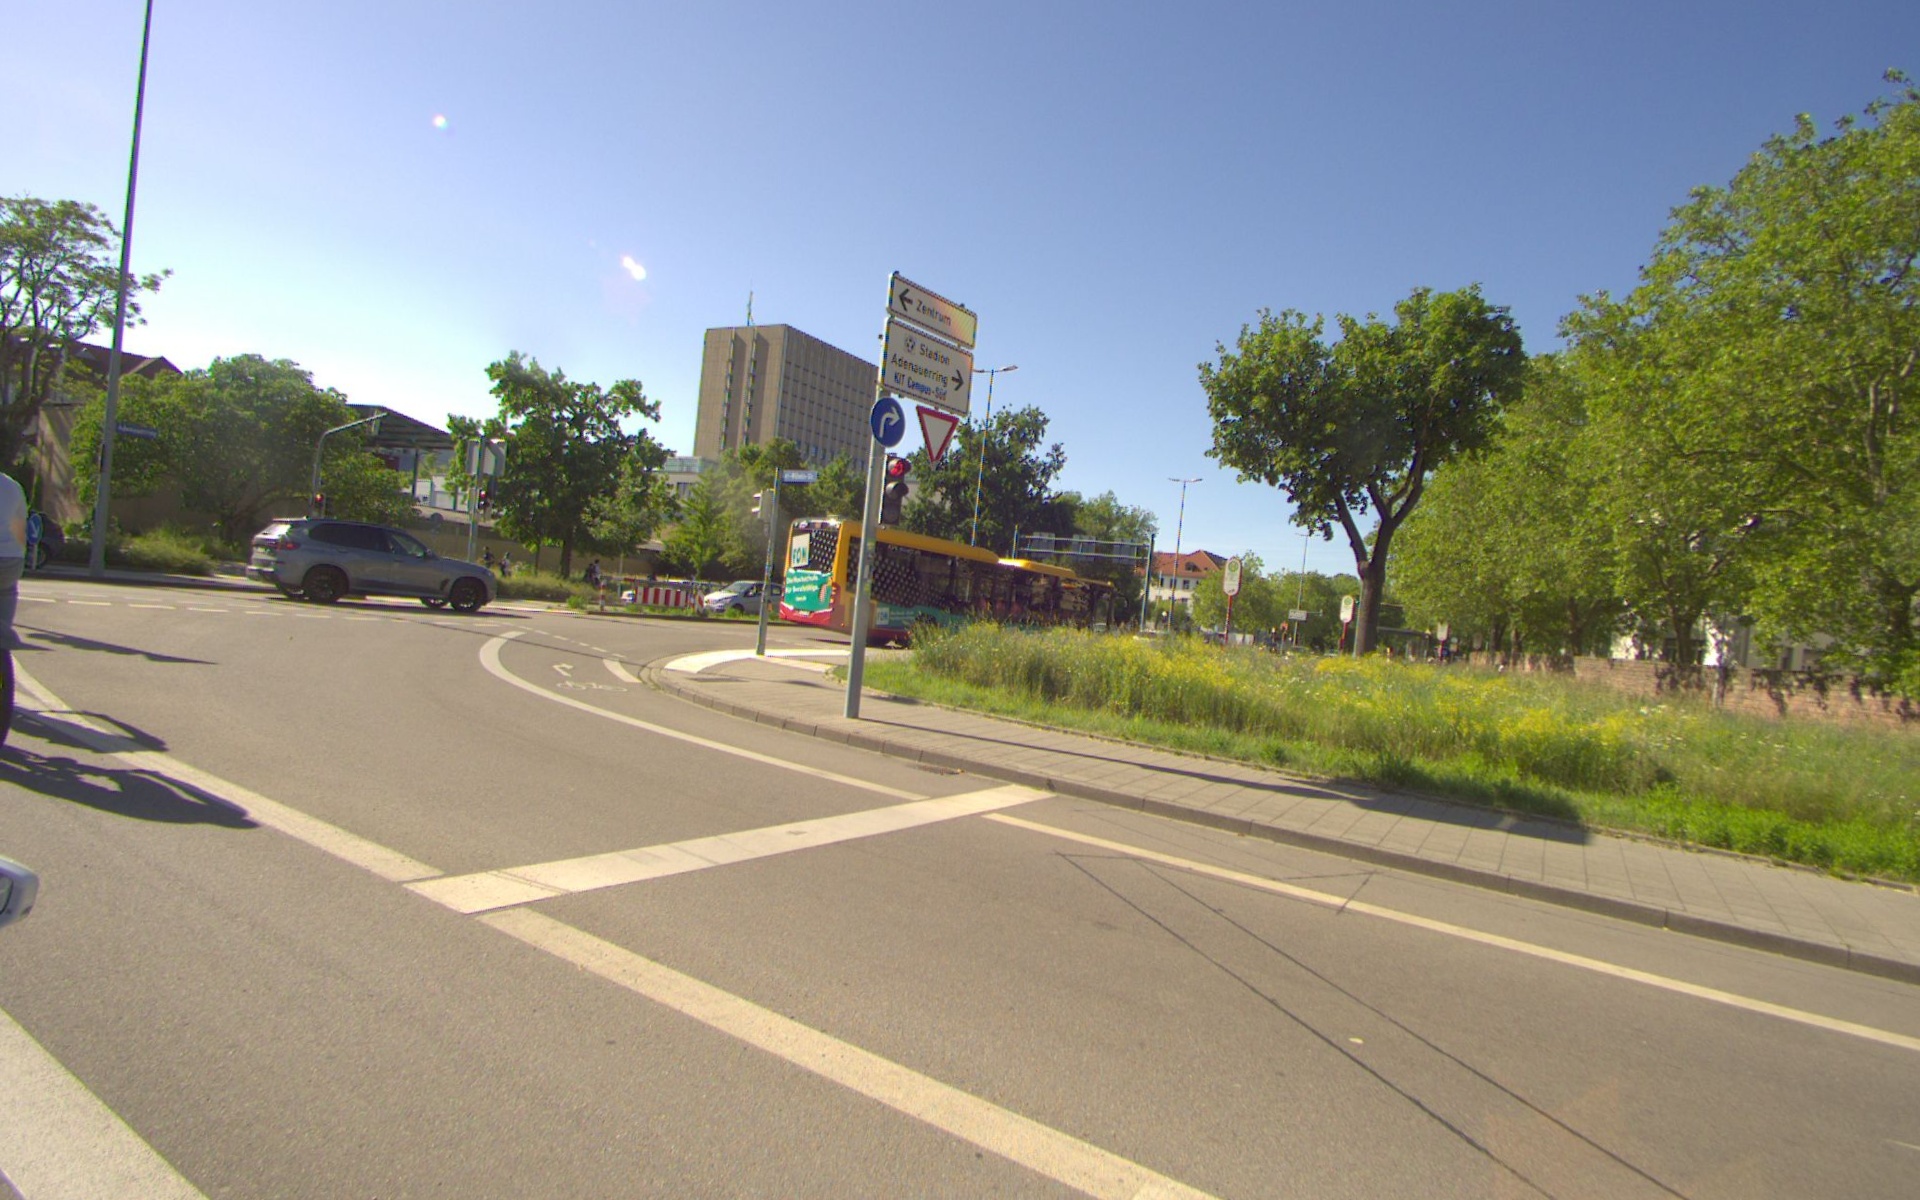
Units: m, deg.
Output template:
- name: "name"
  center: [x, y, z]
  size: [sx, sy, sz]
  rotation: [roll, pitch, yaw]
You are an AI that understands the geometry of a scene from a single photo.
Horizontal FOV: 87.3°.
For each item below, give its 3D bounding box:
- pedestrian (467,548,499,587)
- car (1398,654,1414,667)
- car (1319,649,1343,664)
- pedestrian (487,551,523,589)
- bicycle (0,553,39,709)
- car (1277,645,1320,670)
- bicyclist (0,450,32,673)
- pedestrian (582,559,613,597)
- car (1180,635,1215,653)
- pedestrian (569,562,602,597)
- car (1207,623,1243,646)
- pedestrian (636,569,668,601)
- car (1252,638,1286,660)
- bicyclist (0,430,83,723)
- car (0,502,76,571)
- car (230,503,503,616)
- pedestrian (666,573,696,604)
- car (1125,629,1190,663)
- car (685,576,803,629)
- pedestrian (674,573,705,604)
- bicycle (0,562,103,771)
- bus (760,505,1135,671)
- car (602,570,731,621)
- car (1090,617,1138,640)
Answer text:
- name: "pedestrian"
  center: [-21.954, -1.488, 46.299]
  size: [0.979, 1.625, 0.816]
  rotation: [6, 1, -45]
- name: "car"
  center: [60.953, 8.312, 137.471]
  size: [1.712, 1.535, 3.996]
  rotation: [7, 0, 26]
- name: "car"
  center: [47.709, 7.287, 129.321]
  size: [1.892, 1.625, 4.072]
  rotation: [7, 0, 35]
- name: "pedestrian"
  center: [-20.735, -1.372, 45.846]
  size: [0.917, 1.540, 1.083]
  rotation: [7, 1, 41]
- name: "bicycle"
  center: [-7.575, 0.130, 7.343]
  size: [1.813, 1.063, 0.672]
  rotation: [6, -1, 31]
- name: "car"
  center: [24.045, 4.100, 71.427]
  size: [1.863, 1.419, 3.849]
  rotation: [3, -3, 34]
- name: "bicyclist"
  center: [-7.519, -0.350, 7.345]
  size: [1.063, 1.601, 0.675]
  rotation: [7, -1, 31]
- name: "pedestrian"
  center: [-18.119, -1.095, 50.274]
  size: [0.912, 1.754, 0.961]
  rotation: [7, 1, 40]
- name: "car"
  center: [21.909, 4.104, 92.682]
  size: [1.967, 1.378, 4.000]
  rotation: [5, -1, 31]
- name: "pedestrian"
  center: [-18.162, -1.008, 48.768]
  size: [0.865, 1.540, 1.074]
  rotation: [7, 1, 36]
- name: "car"
  center: [27.935, 3.650, 105.908]
  size: [1.968, 1.966, 4.834]
  rotation: [7, 0, 35]
- name: "pedestrian"
  center: [-16.312, -0.780, 53.325]
  size: [0.927, 1.540, 1.145]
  rotation: [7, 1, 38]
- name: "car"
  center: [33.068, 5.251, 107.444]
  size: [1.968, 2.062, 4.835]
  rotation: [7, 0, 34]
- name: "bicyclist"
  center: [-5.934, -0.171, 5.980]
  size: [0.851, 1.695, 0.741]
  rotation: [7, 1, 30]
- name: "car"
  center: [-25.111, -1.778, 25.375]
  size: [1.811, 1.590, 3.980]
  rotation: [7, 0, 42]
- name: "car"
  center: [-13.006, -0.839, 22.295]
  size: [1.976, 1.884, 4.721]
  rotation: [7, 0, 40]
- name: "pedestrian"
  center: [-15.265, -0.630, 55.016]
  size: [0.865, 1.540, 1.144]
  rotation: [7, 1, 35]
- name: "car"
  center: [10.148, 2.363, 51.479]
  size: [1.731, 1.390, 3.989]
  rotation: [7, 0, 34]
- name: "car"
  center: [-8.322, 0.124, 39.058]
  size: [1.882, 1.625, 4.124]
  rotation: [7, 0, 37]
- name: "pedestrian"
  center: [-14.710, -0.625, 54.679]
  size: [0.975, 1.540, 1.129]
  rotation: [7, 1, 35]
- name: "bicycle"
  center: [-6.025, 0.324, 6.019]
  size: [1.871, 1.064, 0.748]
  rotation: [6, 1, 31]
- name: "bus"
  center: [0.209, -0.098, 30.646]
  size: [12.387, 3.614, 3.209]
  rotation: [7, 0, -44]
- name: "car"
  center: [-12.199, -0.165, 42.116]
  size: [1.909, 1.613, 4.860]
  rotation: [7, 0, 38]
- name: "car"
  center: [11.596, 2.154, 75.663]
  size: [1.968, 1.378, 3.997]
  rotation: [5, 0, 33]
